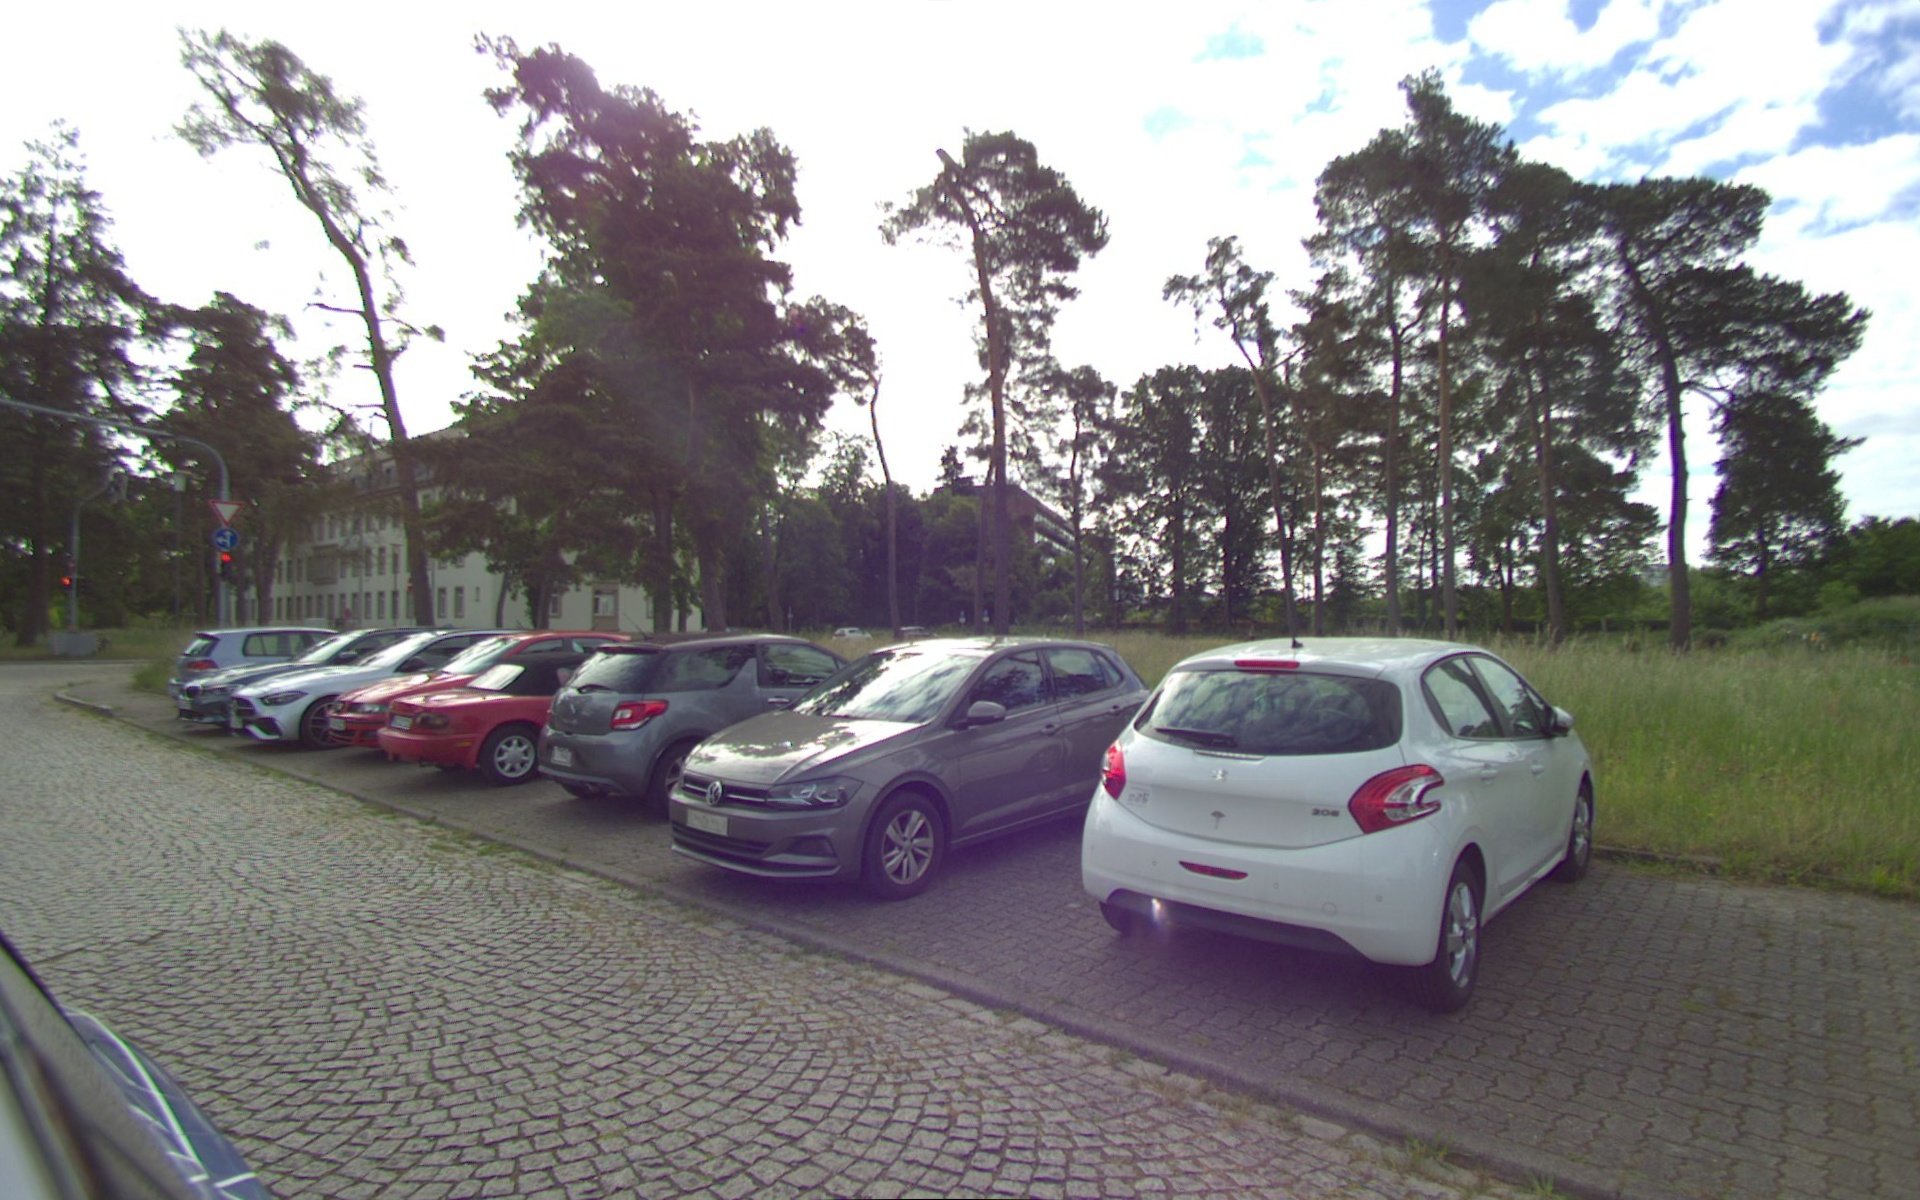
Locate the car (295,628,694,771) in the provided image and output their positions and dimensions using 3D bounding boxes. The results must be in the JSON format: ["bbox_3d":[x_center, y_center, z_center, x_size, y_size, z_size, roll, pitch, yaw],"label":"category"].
[{"bbox_3d":[-5.697,1.107,12.808,1.854,1.466,4.210,-2,-2,41],"label":"car"}]

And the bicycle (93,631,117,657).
[{"bbox_3d":[-37.091,1.910,43.888,1.415,1.082,0.491,-1,1,38],"label":"bicycle"}]

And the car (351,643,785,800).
[{"bbox_3d":[-4.072,1.161,11.042,1.763,1.293,4.088,-2,-2,41],"label":"car"}]

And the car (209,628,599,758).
[{"bbox_3d":[-7.583,1.155,14.154,1.949,1.466,4.390,-1,-1,41],"label":"car"}]

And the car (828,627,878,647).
[{"bbox_3d":[-8.995,3.100,85.348,1.718,1.622,3.998,0,0,45],"label":"car"}]

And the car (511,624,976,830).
[{"bbox_3d":[-1.834,0.986,9.540,1.755,1.492,4.044,-2,-2,42],"label":"car"}]

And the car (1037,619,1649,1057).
[{"bbox_3d":[2.374,0.872,5.623,1.842,1.513,3.962,-2,-2,42],"label":"car"}]

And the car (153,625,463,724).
[{"bbox_3d":[-11.372,1.207,17.892,1.827,1.481,4.282,-1,-1,42],"label":"car"}]

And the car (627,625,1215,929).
[{"bbox_3d":[0.001,0.947,7.254,1.731,1.492,4.258,-2,-2,42],"label":"car"}]

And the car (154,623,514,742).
[{"bbox_3d":[-9.623,1.159,15.899,1.868,1.549,4.458,-1,-1,38],"label":"car"}]

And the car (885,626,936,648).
[{"bbox_3d":[-3.884,2.924,79.942,1.717,1.622,4.000,1,0,43],"label":"car"}]
